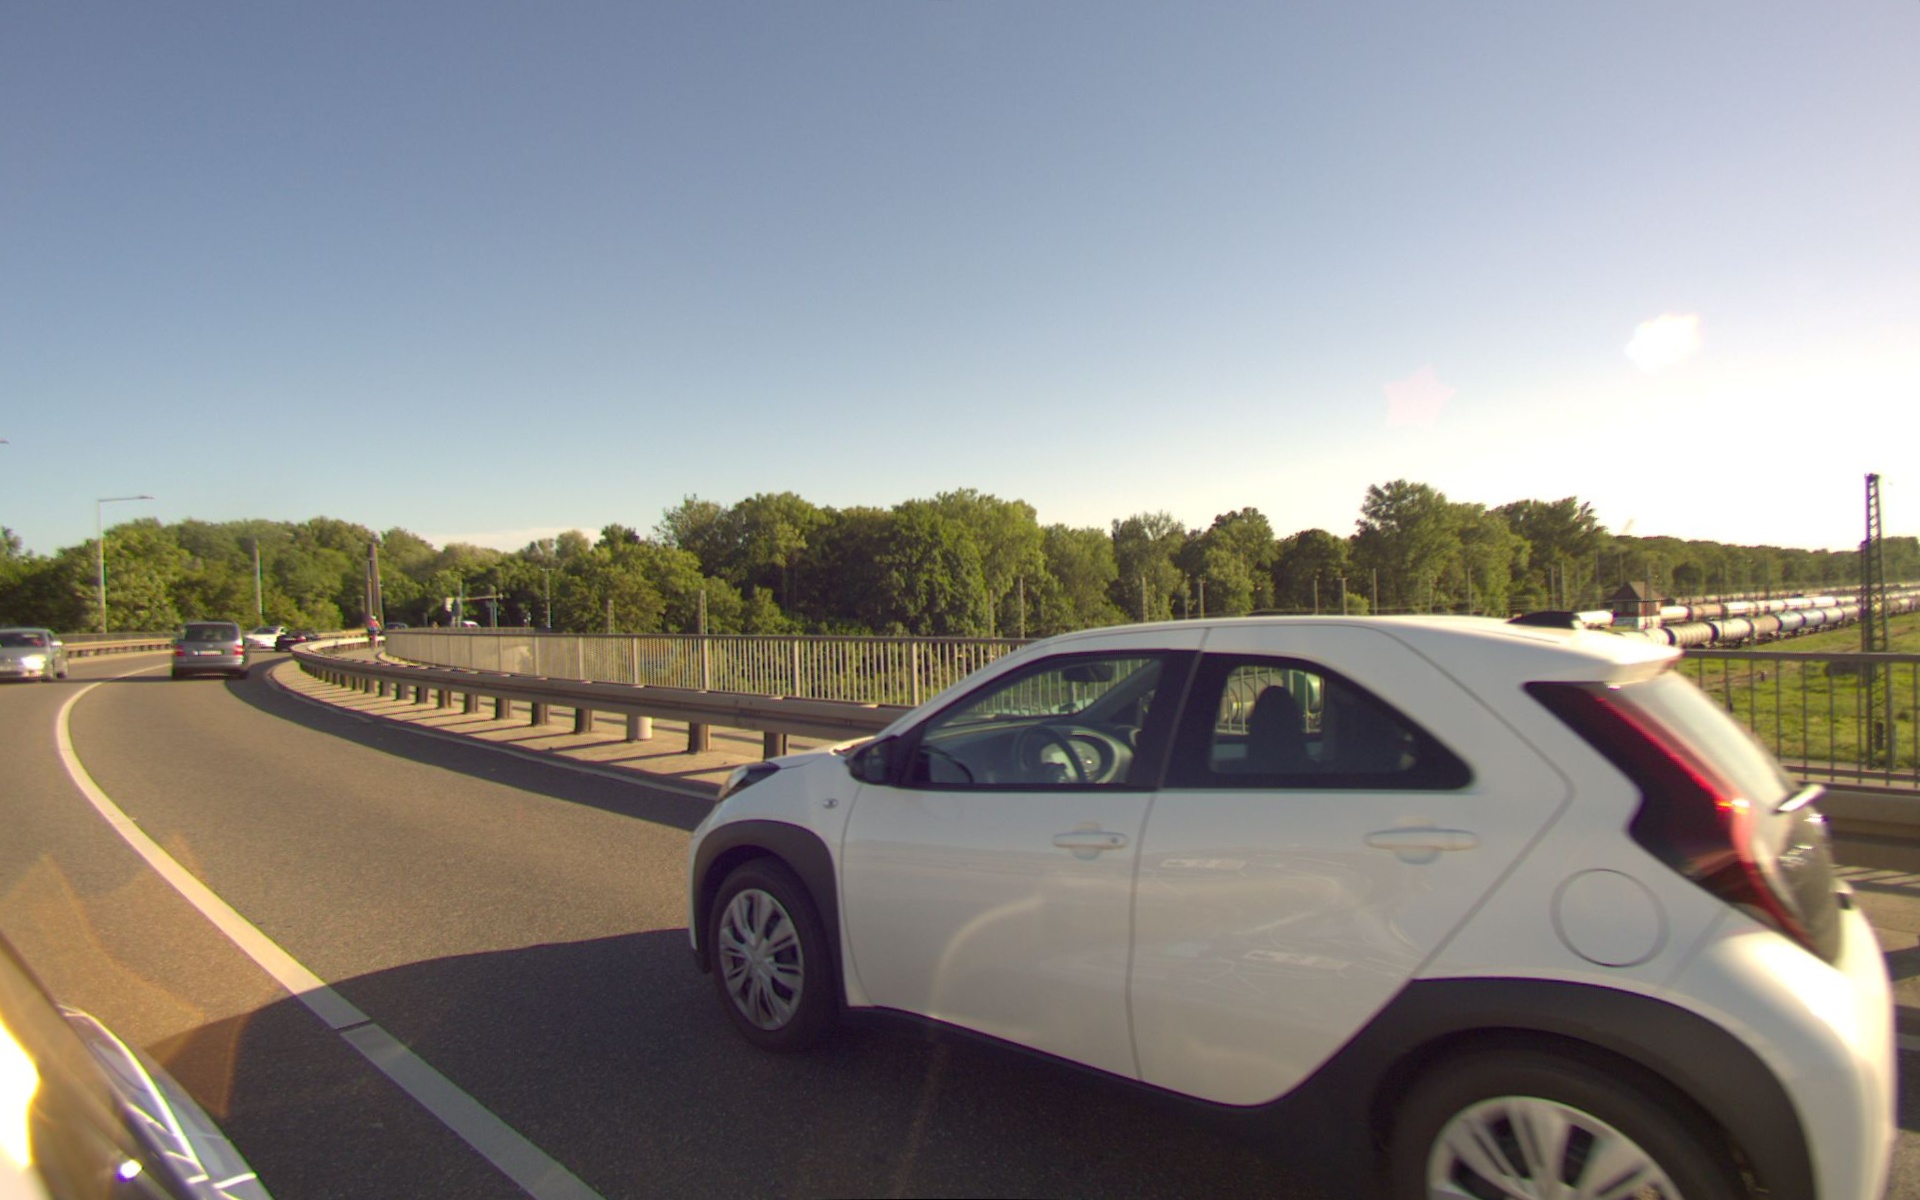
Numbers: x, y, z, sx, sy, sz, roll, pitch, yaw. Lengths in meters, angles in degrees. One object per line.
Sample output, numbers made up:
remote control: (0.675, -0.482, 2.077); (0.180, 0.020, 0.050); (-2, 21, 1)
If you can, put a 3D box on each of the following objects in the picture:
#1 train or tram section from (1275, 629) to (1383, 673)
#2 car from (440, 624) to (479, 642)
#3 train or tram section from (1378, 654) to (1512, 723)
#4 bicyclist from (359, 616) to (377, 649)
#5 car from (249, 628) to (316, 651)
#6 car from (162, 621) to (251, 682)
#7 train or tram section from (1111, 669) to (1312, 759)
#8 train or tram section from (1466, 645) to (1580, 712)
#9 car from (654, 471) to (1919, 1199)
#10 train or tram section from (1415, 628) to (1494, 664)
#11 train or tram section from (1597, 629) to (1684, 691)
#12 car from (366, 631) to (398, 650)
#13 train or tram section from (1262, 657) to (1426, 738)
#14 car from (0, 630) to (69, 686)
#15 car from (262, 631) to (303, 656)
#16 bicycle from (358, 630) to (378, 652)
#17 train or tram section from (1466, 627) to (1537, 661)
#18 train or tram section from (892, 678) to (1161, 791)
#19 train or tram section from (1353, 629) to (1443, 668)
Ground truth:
train or tram section: (47.247, 6.362, 128.927); (19.050, 5.125, 4.055); (1, -2, -41)
car: (-77.030, 5.077, 155.669); (5.667, 2.518, 2.099); (-3, -2, 22)
train or tram section: (41.642, 7.330, 86.433); (16.107, 5.055, 3.912); (1, -2, -40)
bicyclist: (-29.619, 1.626, 50.643); (0.644, 1.601, 0.770); (0, -2, -23)
car: (-45.147, 2.593, 67.502); (1.964, 1.485, 4.134); (0, -2, -5)
car: (-21.807, 1.438, 29.228); (1.825, 1.636, 4.109); (1, -2, -40)
train or tram section: (16.649, 7.089, 65.615); (16.054, 4.626, 3.912); (1, -2, -40)
train or tram section: (54.059, 7.288, 96.784); (16.243, 5.561, 3.912); (1, -2, -40)
car: (0.891, 0.615, 3.211); (3.767, 1.530, 1.818); (-2, -2, 40)
train or tram section: (74.678, 6.820, 152.611); (17.588, 5.125, 4.055); (1, -2, -41)
train or tram section: (79.539, 6.781, 118.008); (16.243, 6.662, 3.912); (1, -2, -40)
car: (-52.984, 3.708, 92.861); (1.890, 1.630, 3.754); (0, -2, -19)
train or tram section: (29.124, 7.071, 76.032); (16.403, 5.055, 3.912); (1, -2, -40)
car: (-25.960, 1.542, 27.725); (1.736, 1.447, 4.341); (1, -2, -34)
car: (-38.709, 2.444, 57.848); (1.720, 1.365, 4.194); (1, -2, -31)
bicycle: (-29.603, 2.055, 50.596); (0.644, 1.073, 1.896); (0, -2, -23)
train or tram section: (88.042, 7.044, 164.235); (17.588, 5.125, 4.055); (1, -2, -41)
train or tram section: (4.131, 6.937, 55.176); (16.503, 4.626, 3.912); (1, -2, -40)
train or tram section: (61.229, 6.595, 141.003); (17.903, 5.125, 4.055); (1, -2, -41)
